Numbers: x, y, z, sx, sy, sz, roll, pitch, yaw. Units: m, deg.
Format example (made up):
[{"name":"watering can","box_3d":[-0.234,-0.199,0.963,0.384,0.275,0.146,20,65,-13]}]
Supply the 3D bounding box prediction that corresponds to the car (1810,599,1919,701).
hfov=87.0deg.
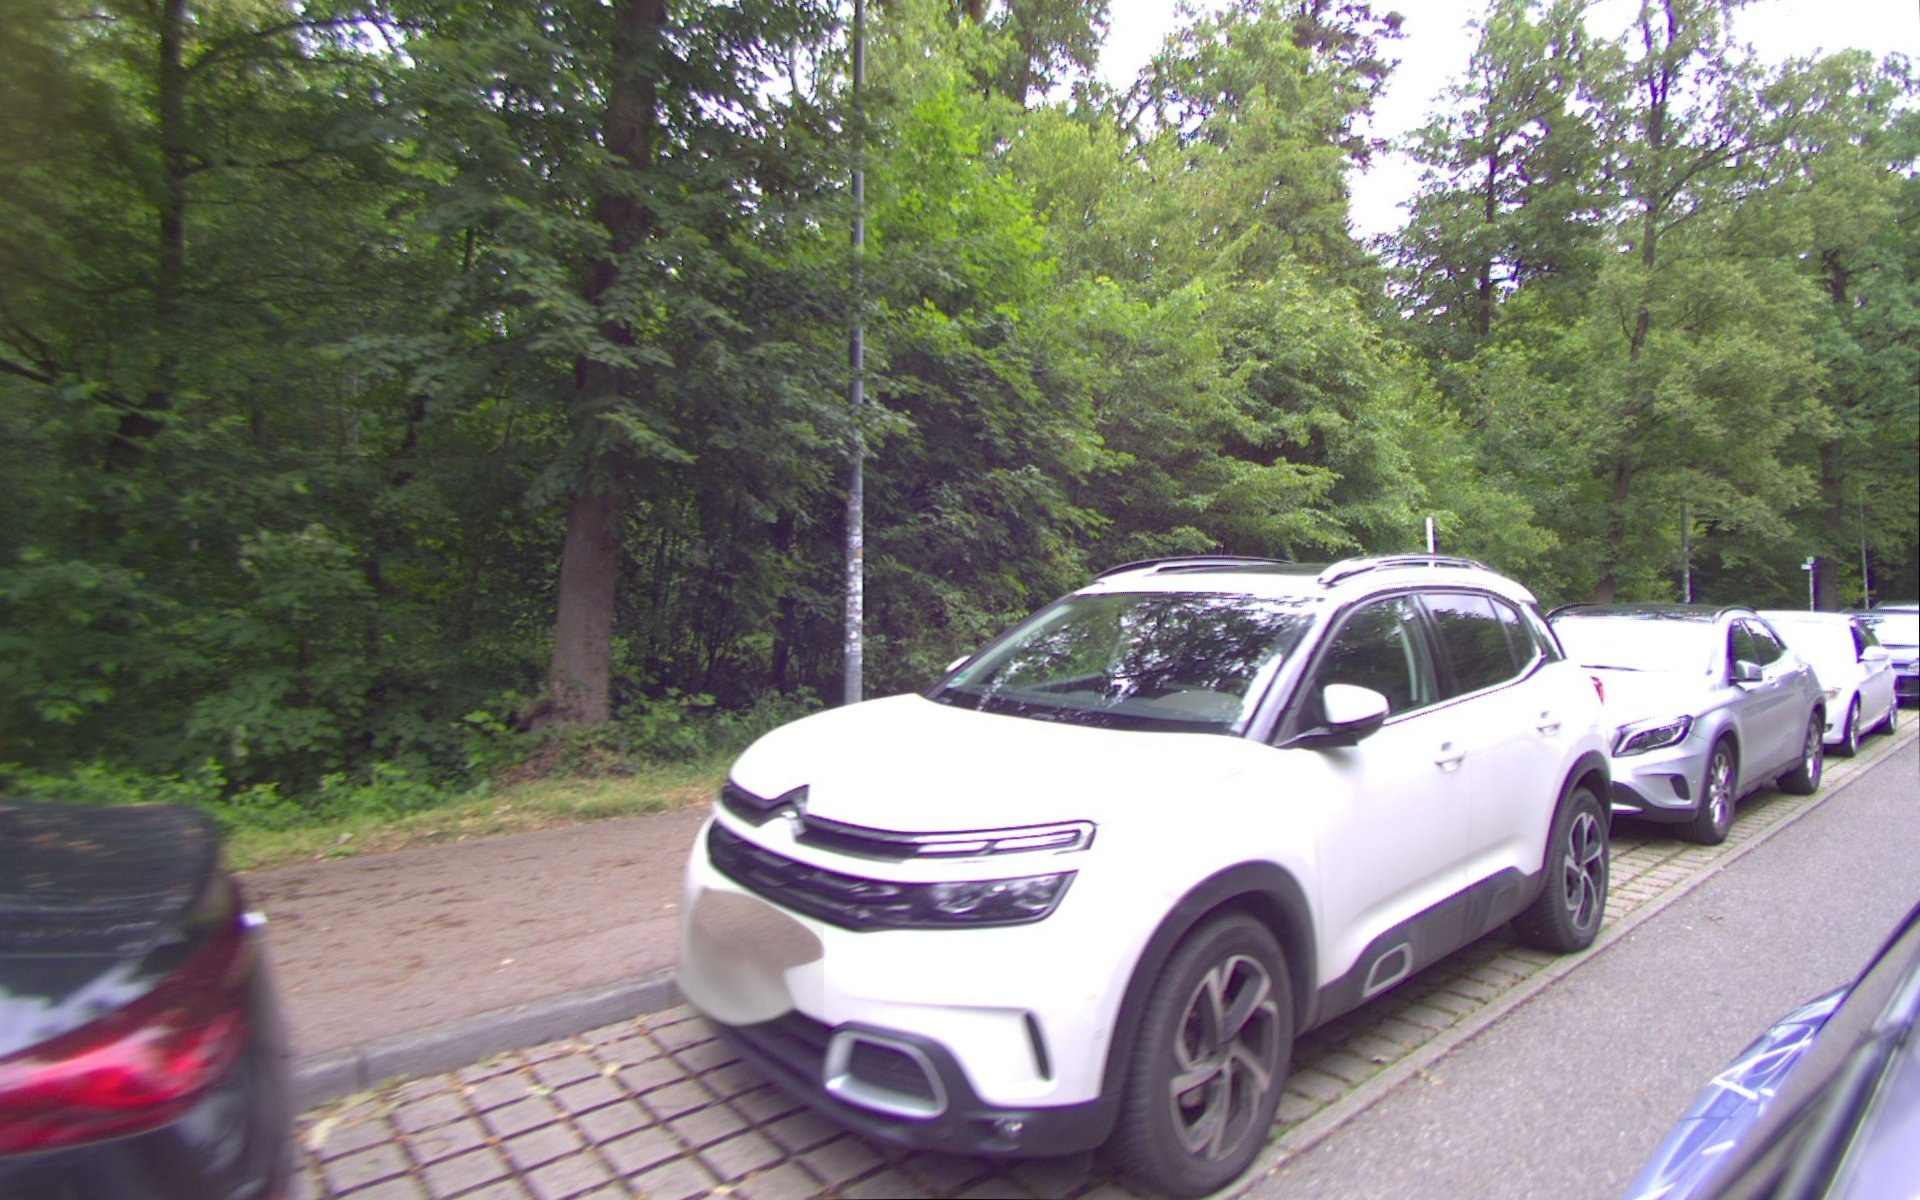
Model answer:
[{"name":"car","box_3d":[15.182,0.722,16.246,4.664,1.453,1.738,0,0,-42]}]

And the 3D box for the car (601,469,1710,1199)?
[{"name":"car","box_3d":[1.311,0.591,4.171,4.981,1.664,1.740,0,0,-40]}]

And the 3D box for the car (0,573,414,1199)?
[{"name":"car","box_3d":[-2.965,0.712,0.450,4.526,1.493,1.738,0,0,-42]}]

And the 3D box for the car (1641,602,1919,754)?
[{"name":"car","box_3d":[9.530,0.738,11.582,4.348,1.425,1.740,0,0,-40]}]

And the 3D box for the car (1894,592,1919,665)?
[{"name":"car","box_3d":[23.012,0.631,23.239,4.404,1.607,1.904,0,0,-42]}]

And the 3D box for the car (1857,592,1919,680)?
[{"name":"car","box_3d":[18.980,0.654,19.671,4.348,1.580,1.841,0,0,-42]}]

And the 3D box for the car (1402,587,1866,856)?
[{"name":"car","box_3d":[5.405,0.683,7.840,4.684,1.498,1.740,0,0,-40]}]
